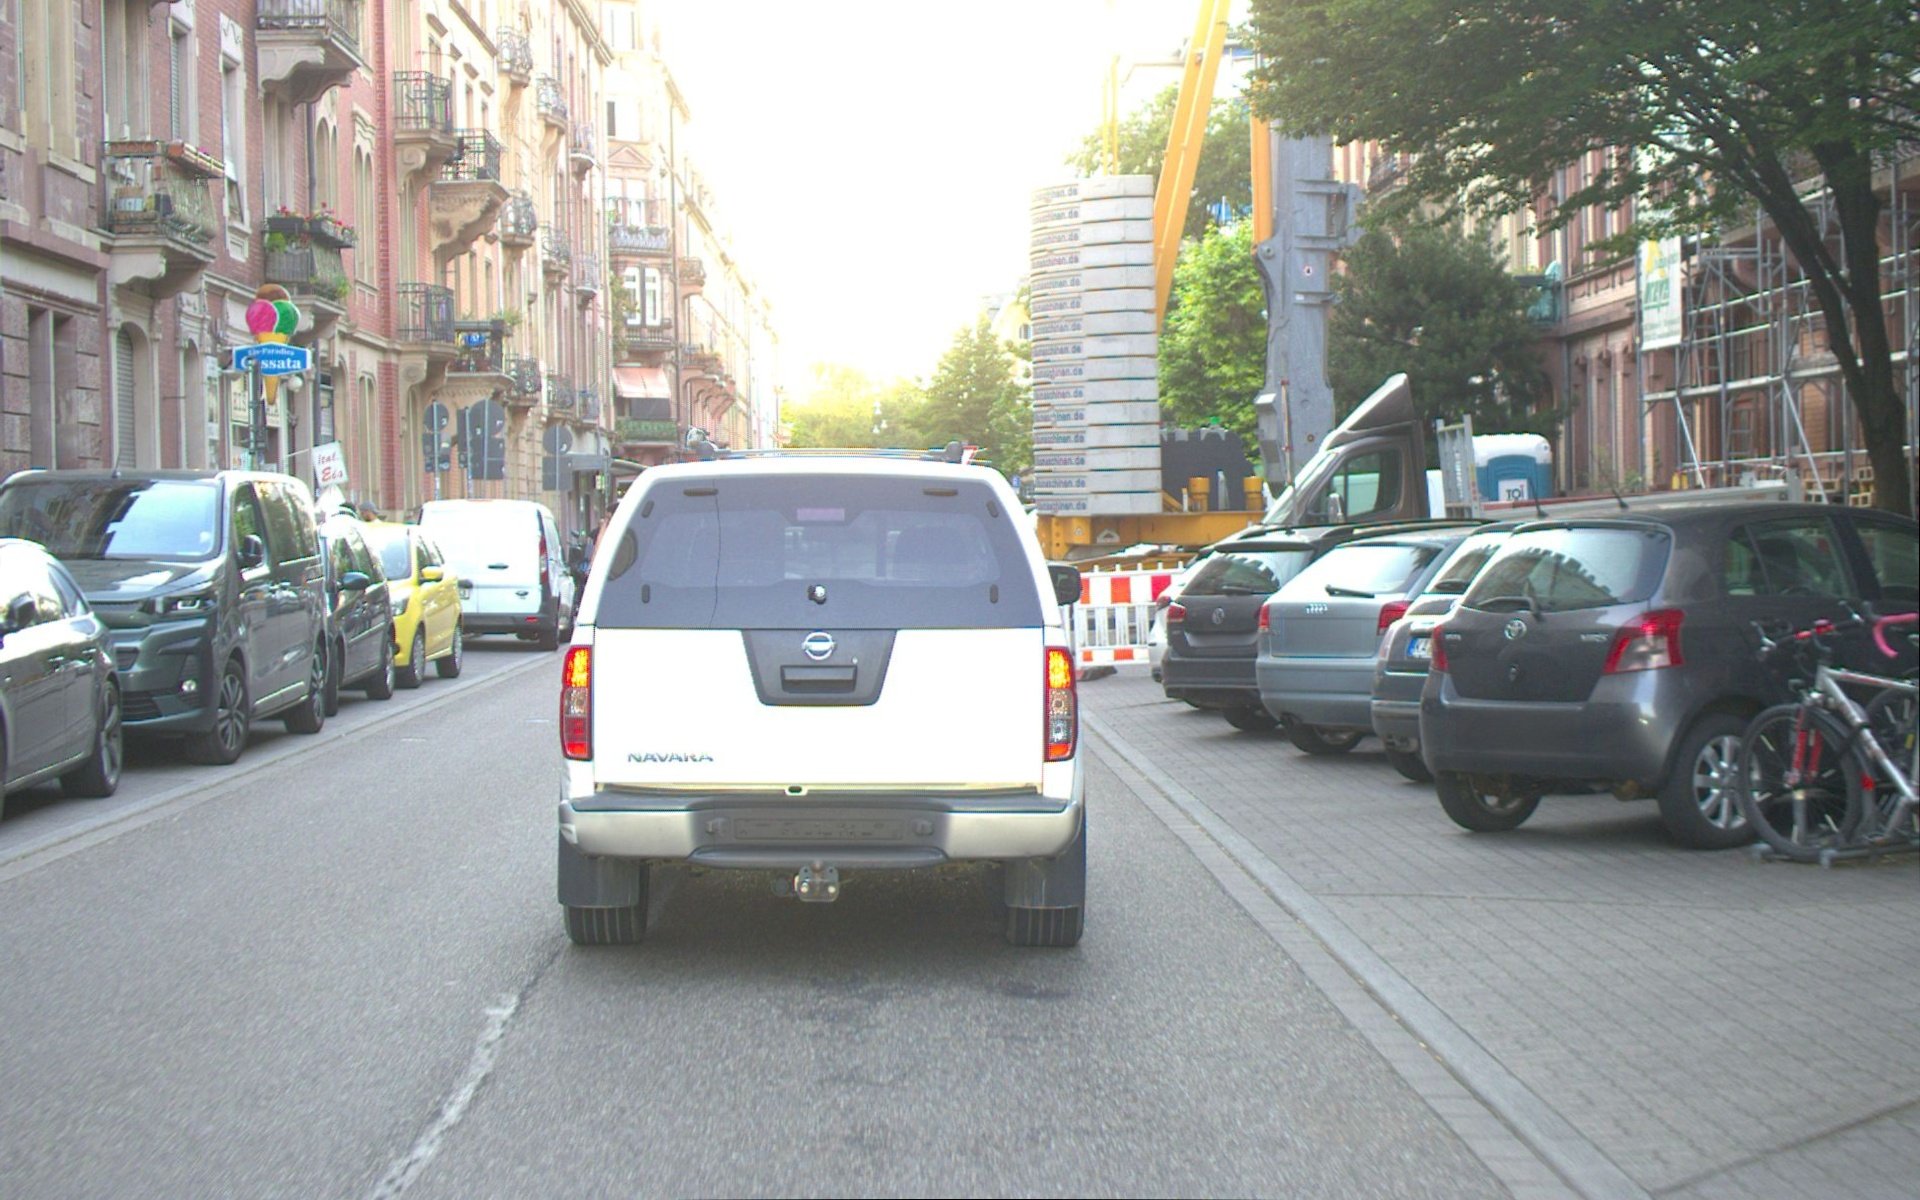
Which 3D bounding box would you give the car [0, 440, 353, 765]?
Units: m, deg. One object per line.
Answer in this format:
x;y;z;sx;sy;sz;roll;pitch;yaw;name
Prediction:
-5.389;-0.046;22.813;1.904;1.919;4.947;0;1;-1;car

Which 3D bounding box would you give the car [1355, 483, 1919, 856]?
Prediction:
3.769;0.241;16.182;3.396;1.469;1.775;-4;3;-32;car

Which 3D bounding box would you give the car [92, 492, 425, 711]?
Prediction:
-5.731;-0.041;28.574;1.905;1.657;4.068;-1;1;0;car

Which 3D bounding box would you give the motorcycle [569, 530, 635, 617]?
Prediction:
-5.973;-0.465;57.415;0.837;1.411;2.549;0;1;0;motorcycle

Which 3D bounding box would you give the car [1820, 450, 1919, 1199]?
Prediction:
4.119;0.420;7.578;3.986;1.631;1.759;-3;2;-21;car

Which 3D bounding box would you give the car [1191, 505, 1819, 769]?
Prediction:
3.549;0.177;22.148;3.826;1.432;1.762;-3;3;-36;car

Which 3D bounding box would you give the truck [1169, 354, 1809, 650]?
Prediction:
5.410;-0.974;35.871;6.320;2.966;2.264;0;-1;0;truck

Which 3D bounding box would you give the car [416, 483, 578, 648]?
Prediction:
-5.659;-0.452;42.339;1.559;1.914;3.857;1;1;-2;car

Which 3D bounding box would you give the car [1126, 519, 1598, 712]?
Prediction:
3.254;0.081;27.701;3.548;1.459;1.611;-1;2;-32;car

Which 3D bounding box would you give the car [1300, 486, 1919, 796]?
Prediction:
4.064;0.171;19.594;3.824;1.525;1.763;-3;2;-26;car

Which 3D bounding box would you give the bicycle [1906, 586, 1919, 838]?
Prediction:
4.881;0.481;14.477;0.557;1.104;1.858;-1;0;-30;bicycle

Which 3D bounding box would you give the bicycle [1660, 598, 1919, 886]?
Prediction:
3.728;0.549;13.877;0.692;1.104;1.858;-1;0;-30;bicycle

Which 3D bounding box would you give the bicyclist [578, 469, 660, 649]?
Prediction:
-3.540;-0.437;35.756;0.800;1.843;0.944;0;1;-3;bicyclist

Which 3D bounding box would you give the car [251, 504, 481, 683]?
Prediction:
-5.631;-0.106;32.955;1.499;1.588;3.856;-1;1;0;car

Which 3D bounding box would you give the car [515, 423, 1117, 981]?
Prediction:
-0.489;0.275;13.465;1.933;1.788;4.622;1;1;-1;car

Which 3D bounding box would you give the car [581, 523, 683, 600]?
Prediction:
-6.768;-0.818;71.316;1.791;1.525;4.000;0;1;-1;car

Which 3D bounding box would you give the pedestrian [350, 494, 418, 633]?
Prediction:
-7.804;-0.498;46.581;0.617;1.863;0.739;0;1;22;pedestrian

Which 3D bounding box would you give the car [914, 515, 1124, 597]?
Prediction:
1.200;-0.901;69.461;4.195;1.616;1.820;0;1;2;car

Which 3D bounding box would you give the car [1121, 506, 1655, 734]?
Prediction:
3.140;0.085;24.843;3.882;1.525;1.637;-1;2;-40;car

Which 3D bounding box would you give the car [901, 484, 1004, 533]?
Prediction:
-0.334;-4.106;154.816;4.588;2.170;1.819;0;1;2;car

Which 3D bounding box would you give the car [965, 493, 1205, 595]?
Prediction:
2.205;-1.000;60.955;4.195;1.774;1.819;0;1;2;car

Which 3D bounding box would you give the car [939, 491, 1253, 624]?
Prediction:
1.886;-0.586;46.881;4.196;1.774;1.819;0;1;5;car

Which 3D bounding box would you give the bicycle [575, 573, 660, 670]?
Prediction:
-3.541;0.207;35.706;0.800;0.944;2.005;0;1;-3;bicycle

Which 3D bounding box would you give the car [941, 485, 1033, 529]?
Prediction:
1.354;-4.650;172.093;4.588;2.170;1.819;0;1;2;car

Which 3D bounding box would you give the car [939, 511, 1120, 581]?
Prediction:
1.639;-1.273;80.750;4.195;1.616;1.820;0;1;2;car

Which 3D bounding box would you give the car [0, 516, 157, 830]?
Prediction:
-5.474;0.312;17.311;1.911;1.467;4.534;0;1;-2;car

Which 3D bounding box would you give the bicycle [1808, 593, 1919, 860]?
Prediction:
4.372;0.521;14.162;0.557;1.104;1.858;-1;0;-30;bicycle

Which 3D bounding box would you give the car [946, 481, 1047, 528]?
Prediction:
1.688;-4.401;158.369;4.588;2.170;1.819;0;1;2;car
